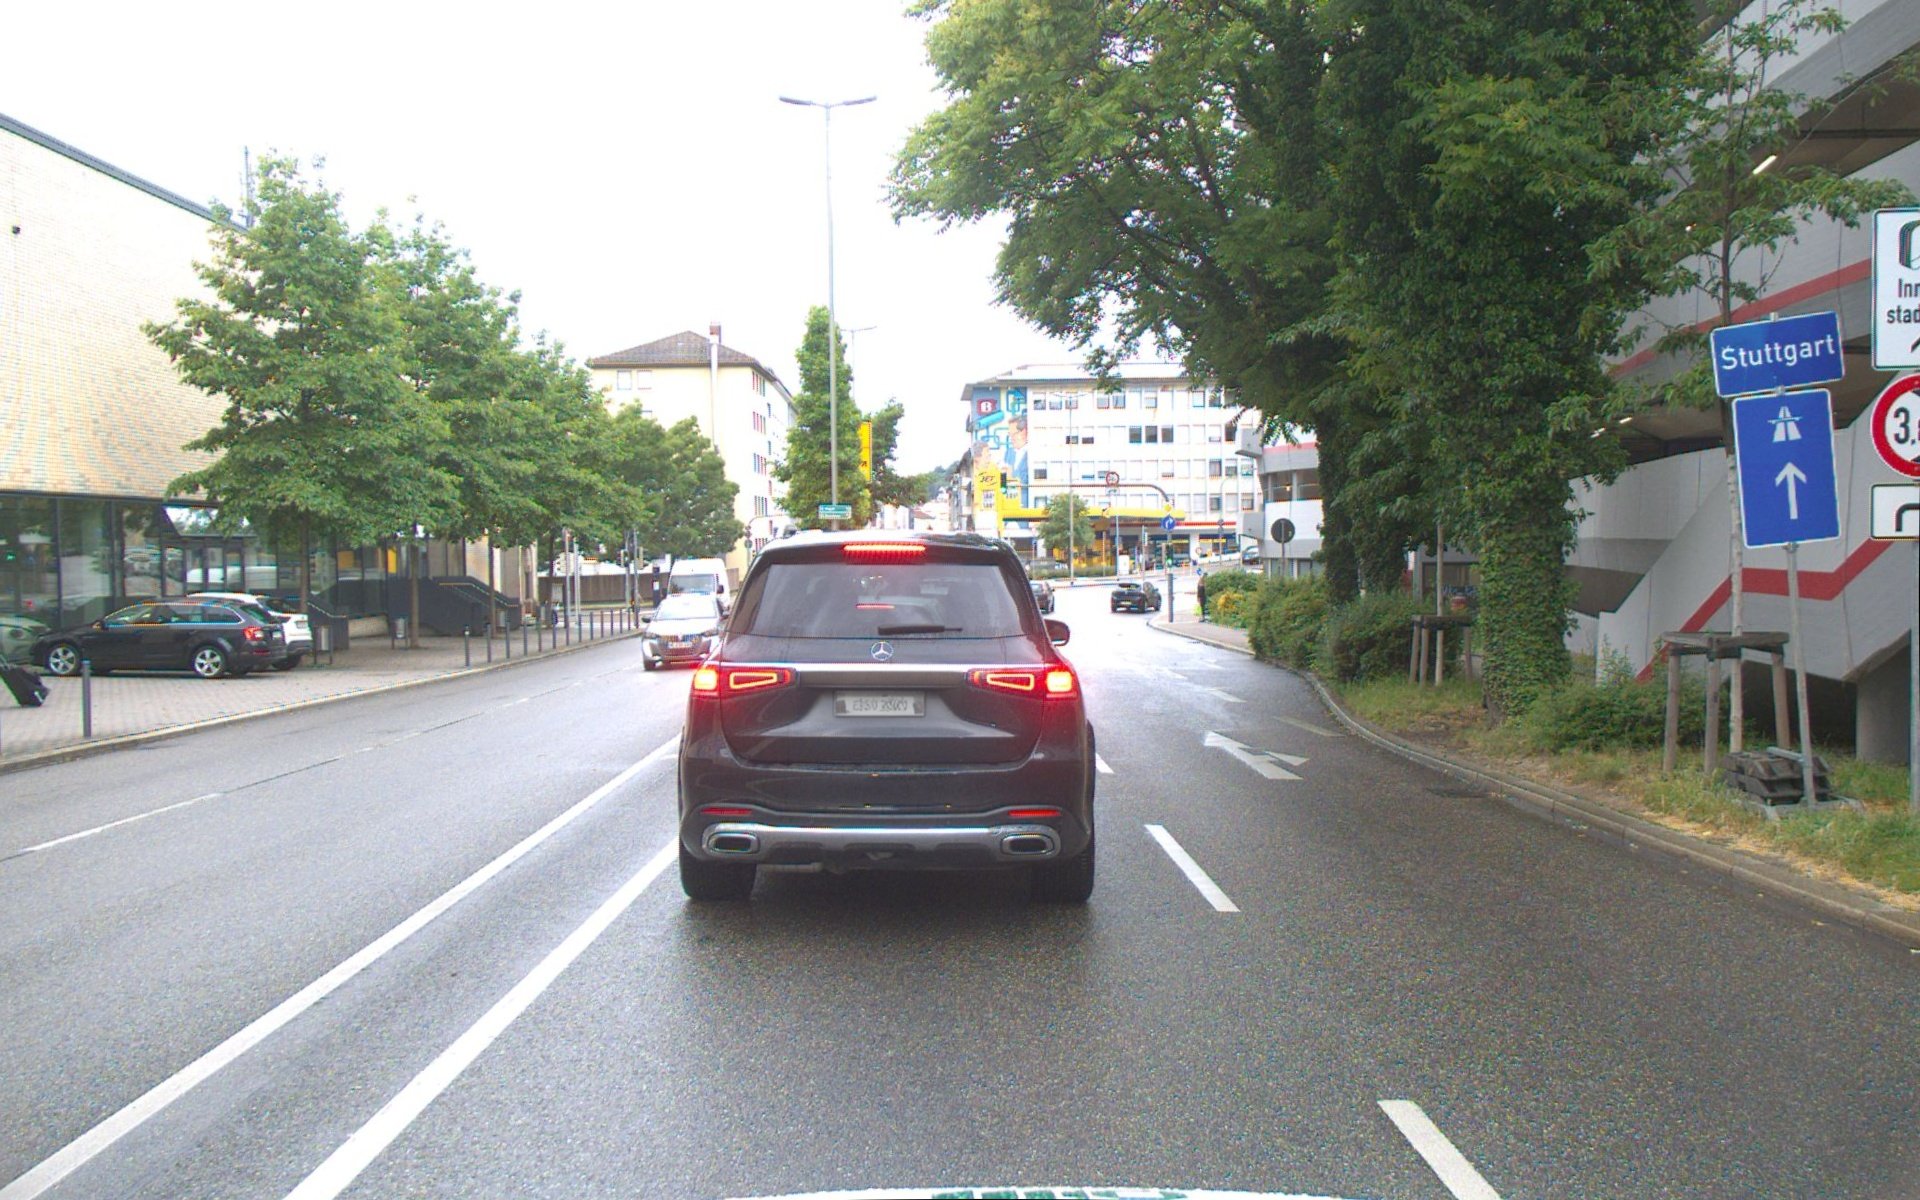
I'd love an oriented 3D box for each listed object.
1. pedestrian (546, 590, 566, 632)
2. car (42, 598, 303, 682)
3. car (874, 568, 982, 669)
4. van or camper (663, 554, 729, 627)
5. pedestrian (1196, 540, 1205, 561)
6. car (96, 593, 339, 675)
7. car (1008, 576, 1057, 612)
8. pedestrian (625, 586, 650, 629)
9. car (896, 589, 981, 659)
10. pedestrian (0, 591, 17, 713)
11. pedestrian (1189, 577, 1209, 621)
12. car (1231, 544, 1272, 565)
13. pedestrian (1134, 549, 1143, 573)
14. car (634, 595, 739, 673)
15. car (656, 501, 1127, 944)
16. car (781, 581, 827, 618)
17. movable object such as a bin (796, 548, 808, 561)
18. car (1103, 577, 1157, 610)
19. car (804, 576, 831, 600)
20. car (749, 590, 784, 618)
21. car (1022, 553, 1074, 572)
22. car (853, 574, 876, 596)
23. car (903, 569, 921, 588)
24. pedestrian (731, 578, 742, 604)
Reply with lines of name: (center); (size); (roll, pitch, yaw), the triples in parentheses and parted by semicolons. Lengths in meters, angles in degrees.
pedestrian: (-16.545, 0.443, 67.773); (0.630, 1.695, 1.017); (1, 0, -7)
car: (-15.125, 0.752, 31.986); (4.097, 1.521, 1.997); (1, 0, -8)
car: (-0.620, 0.357, 32.596); (1.953, 1.832, 3.999); (1, 0, -1)
van or camper: (-10.171, -0.358, 64.070); (2.061, 2.627, 5.901); (-2, 0, -6)
pedestrian: (19.949, -4.128, 137.161); (0.515, 1.757, 0.689); (0, 1, 26)
car: (-15.326, 0.689, 34.286); (4.090, 1.574, 2.000); (1, 0, 0)
car: (3.340, -0.306, 75.548); (1.758, 1.552, 4.059); (1, 1, 9)
pedestrian: (-13.148, 0.290, 67.438); (0.931, 1.734, 0.709); (1, -1, -18)
car: (-0.506, 0.539, 38.553); (1.869, 1.527, 3.999); (1, 0, -1)
pedestrian: (-14.048, 0.738, 23.704); (0.621, 1.744, 0.705); (1, -1, 2)
pedestrian: (9.456, -0.043, 65.489); (0.634, 1.740, 0.470); (0, -1, 35)
car: (24.485, -3.817, 138.777); (1.958, 1.735, 3.990); (-1, 1, 33)
pedestrian: (12.971, -2.825, 120.317); (0.560, 1.727, 0.631); (1, -1, 0)
car: (-5.772, 0.680, 35.250); (1.706, 1.496, 3.880); (-2, 0, -3)
car: (-0.313, 0.526, 8.956); (1.953, 1.832, 3.999); (1, 0, -1)
car: (-6.934, -0.047, 73.891); (1.846, 1.524, 4.559); (-2, 0, -3)
movable object such as a bin: (-13.489, -3.880, 140.941); (0.891, 1.056, 0.844); (1, 0, 0)
car: (8.177, -0.289, 79.277); (1.904, 1.512, 4.003); (1, 0, 15)
car: (-10.517, -0.855, 122.027); (1.868, 1.733, 3.997); (1, 0, -4)
car: (-10.927, 0.227, 93.590); (1.761, 1.521, 3.801); (1, 0, -3)
car: (6.842, -2.898, 128.656); (1.724, 1.400, 3.935); (-3, 2, -44)
car: (-8.146, -1.272, 141.384); (1.830, 1.871, 3.818); (1, 0, -2)
car: (-5.382, -2.445, 186.329); (1.953, 2.049, 4.000); (1, 0, 0)
pedestrian: (-15.383, -0.613, 113.776); (0.635, 1.757, 0.628); (-2, 1, -5)
